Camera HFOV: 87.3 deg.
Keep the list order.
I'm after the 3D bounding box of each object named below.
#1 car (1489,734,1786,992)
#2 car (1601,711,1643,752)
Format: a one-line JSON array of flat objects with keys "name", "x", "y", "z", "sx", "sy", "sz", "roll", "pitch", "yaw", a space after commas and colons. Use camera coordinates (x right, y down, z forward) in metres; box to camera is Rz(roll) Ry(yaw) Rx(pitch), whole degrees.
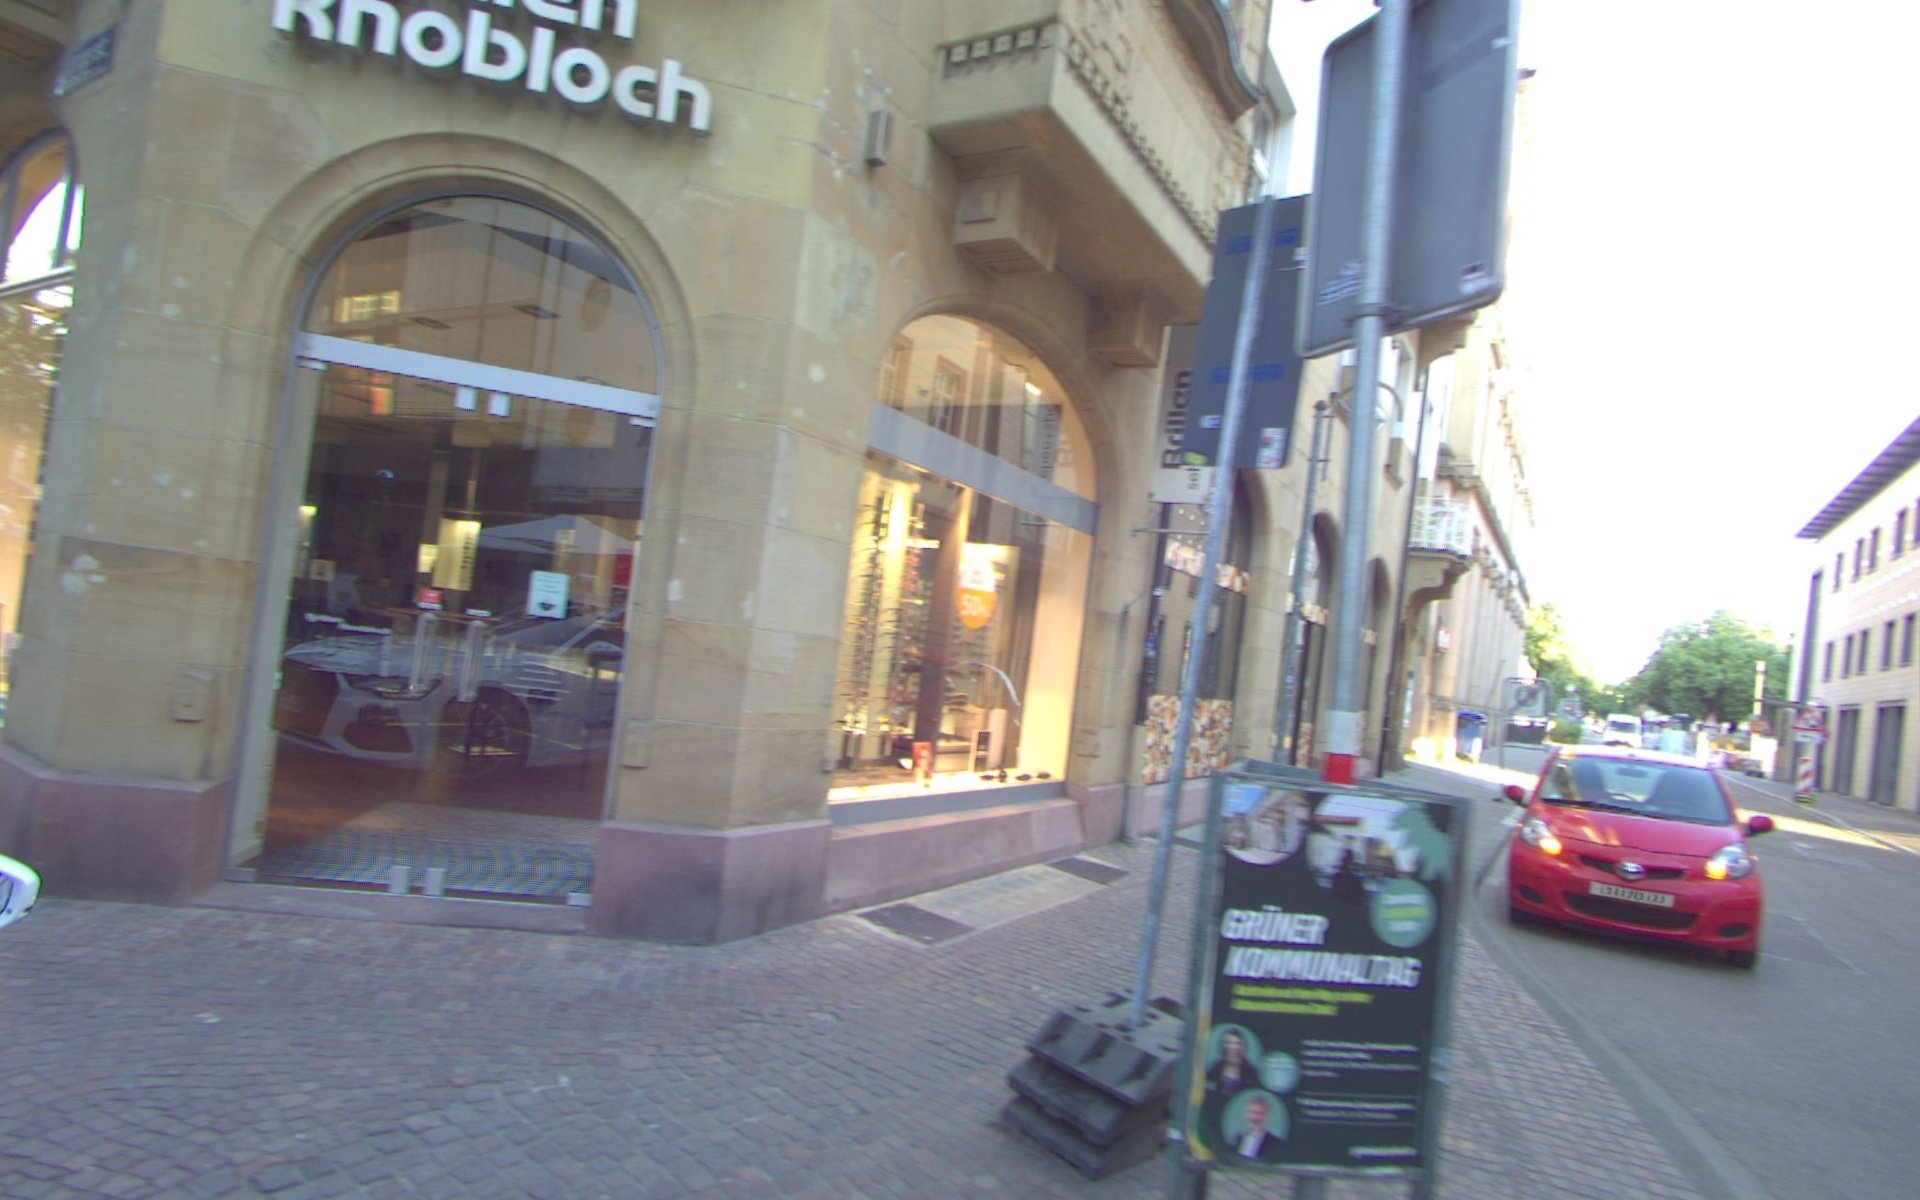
[{"name": "car", "x": 5.719, "y": 1.976, "z": 8.608, "sx": 1.625, "sy": 1.458, "sz": 3.993, "roll": 3, "pitch": -4, "yaw": 34}, {"name": "car", "x": 43.457, "y": 8.645, "z": 65.989, "sx": 1.911, "sy": 2.331, "sz": 3.990, "roll": 6, "pitch": -2, "yaw": 37}]
